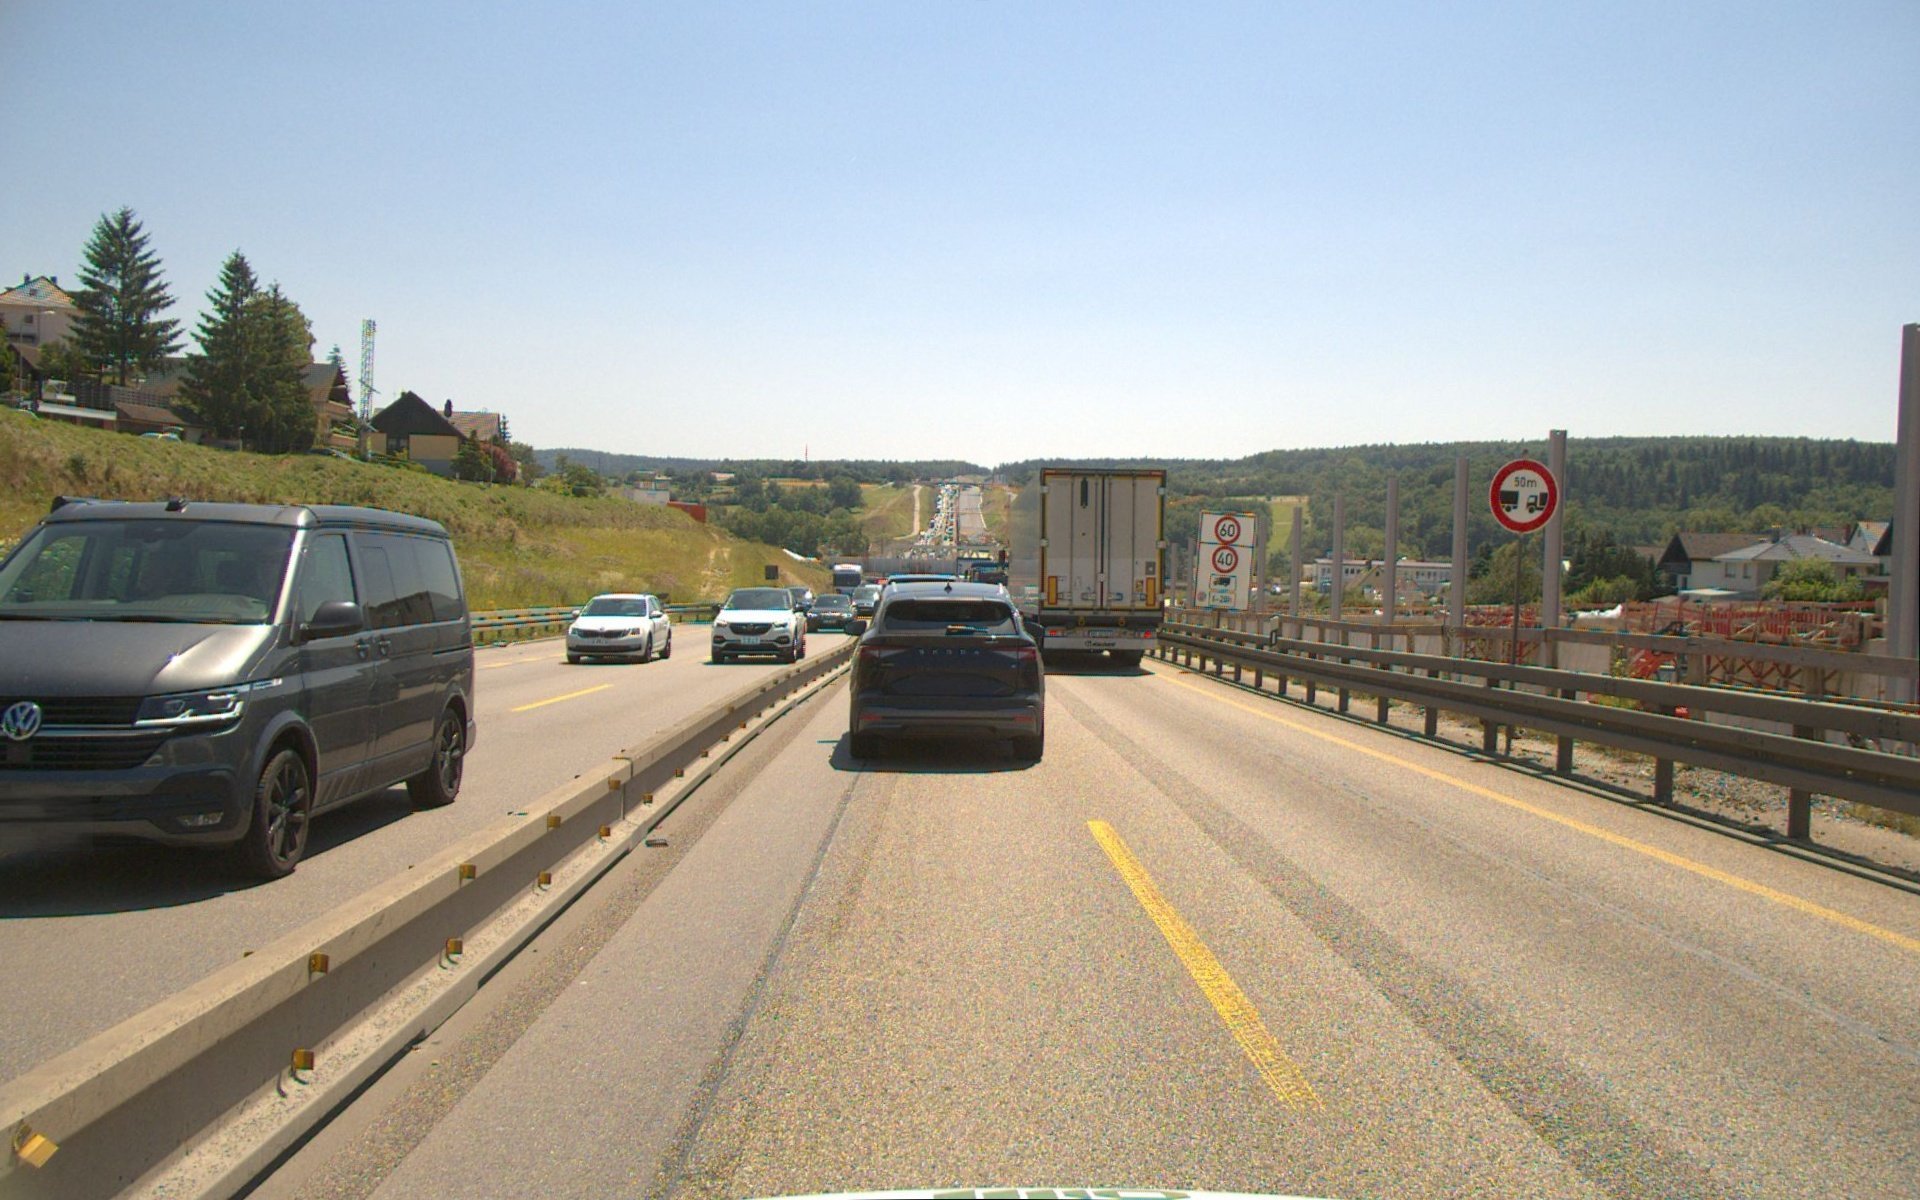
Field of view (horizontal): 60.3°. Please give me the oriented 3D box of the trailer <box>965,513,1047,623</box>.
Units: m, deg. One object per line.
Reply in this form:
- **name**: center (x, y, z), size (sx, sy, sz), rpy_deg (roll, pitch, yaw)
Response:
- **trailer**: center (1.972, -1.247, 77.374), size (3.116, 4.592, 14.962), rpy_deg (1, -1, -1)

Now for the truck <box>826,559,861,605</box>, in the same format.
- **truck**: center (-9.862, -1.501, 140.527), size (2.723, 3.737, 6.275), rpy_deg (1, 0, -2)

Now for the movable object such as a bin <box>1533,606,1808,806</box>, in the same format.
- **movable object such as a bin**: center (18.891, 2.651, 44.913), size (3.162, 4.826, 9.652), rpy_deg (1, -1, -1)

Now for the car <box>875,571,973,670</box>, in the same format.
- **car**: center (-0.771, 0.454, 35.380), size (1.953, 1.959, 4.506), rpy_deg (1, -1, -1)

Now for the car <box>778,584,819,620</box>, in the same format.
- **car**: center (-8.414, 0.099, 86.627), size (1.791, 1.797, 4.496), rpy_deg (0, 0, -1)

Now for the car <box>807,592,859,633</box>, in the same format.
- **car**: center (-4.854, 0.463, 63.667), size (1.761, 1.492, 4.354), rpy_deg (-1, 0, -1)

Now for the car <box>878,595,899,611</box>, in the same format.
- **car**: center (-6.706, 0.250, 155.904), size (1.856, 1.439, 4.678), rpy_deg (0, 0, 0)

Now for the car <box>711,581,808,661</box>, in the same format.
- **car**: center (-4.401, 0.436, 36.794), size (1.770, 1.668, 4.171), rpy_deg (0, 0, -2)

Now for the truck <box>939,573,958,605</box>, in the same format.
- **truck**: center (-1.662, -1.494, 231.025), size (2.586, 4.267, 9.281), rpy_deg (1, -1, -1)

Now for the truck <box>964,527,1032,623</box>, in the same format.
- **truck**: center (1.860, -1.161, 84.464), size (3.116, 4.592, 8.163), rpy_deg (1, -1, -1)

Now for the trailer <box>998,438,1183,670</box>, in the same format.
- **trailer**: center (2.768, -0.981, 39.625), size (3.116, 4.592, 13.106), rpy_deg (1, 1, -1)

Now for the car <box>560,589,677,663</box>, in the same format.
- **car**: center (-7.477, 0.532, 36.623), size (1.767, 1.523, 4.598), rpy_deg (0, 0, -2)

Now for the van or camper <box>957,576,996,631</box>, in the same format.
- **van or camper**: center (1.082, 0.274, 103.513), size (2.339, 3.338, 6.469), rpy_deg (0, -1, 1)

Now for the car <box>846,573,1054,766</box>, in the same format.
- **car**: center (-0.095, 0.608, 16.175), size (1.765, 1.635, 3.999), rpy_deg (1, 0, 0)

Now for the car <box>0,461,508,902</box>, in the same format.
- **car**: center (-4.313, 0.377, 10.164), size (1.872, 2.049, 4.904), rpy_deg (1, 0, -2)

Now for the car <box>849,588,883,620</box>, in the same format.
- **car**: center (-5.412, 0.202, 95.486), size (1.808, 1.809, 4.881), rpy_deg (0, 0, -1)

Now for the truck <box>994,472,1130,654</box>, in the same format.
- **truck**: center (2.670, -0.988, 46.115), size (3.116, 4.592, 8.164), rpy_deg (1, 0, -1)

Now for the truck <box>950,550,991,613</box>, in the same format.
- **truck**: center (0.750, -1.327, 128.468), size (2.794, 4.543, 11.912), rpy_deg (1, -1, -2)
